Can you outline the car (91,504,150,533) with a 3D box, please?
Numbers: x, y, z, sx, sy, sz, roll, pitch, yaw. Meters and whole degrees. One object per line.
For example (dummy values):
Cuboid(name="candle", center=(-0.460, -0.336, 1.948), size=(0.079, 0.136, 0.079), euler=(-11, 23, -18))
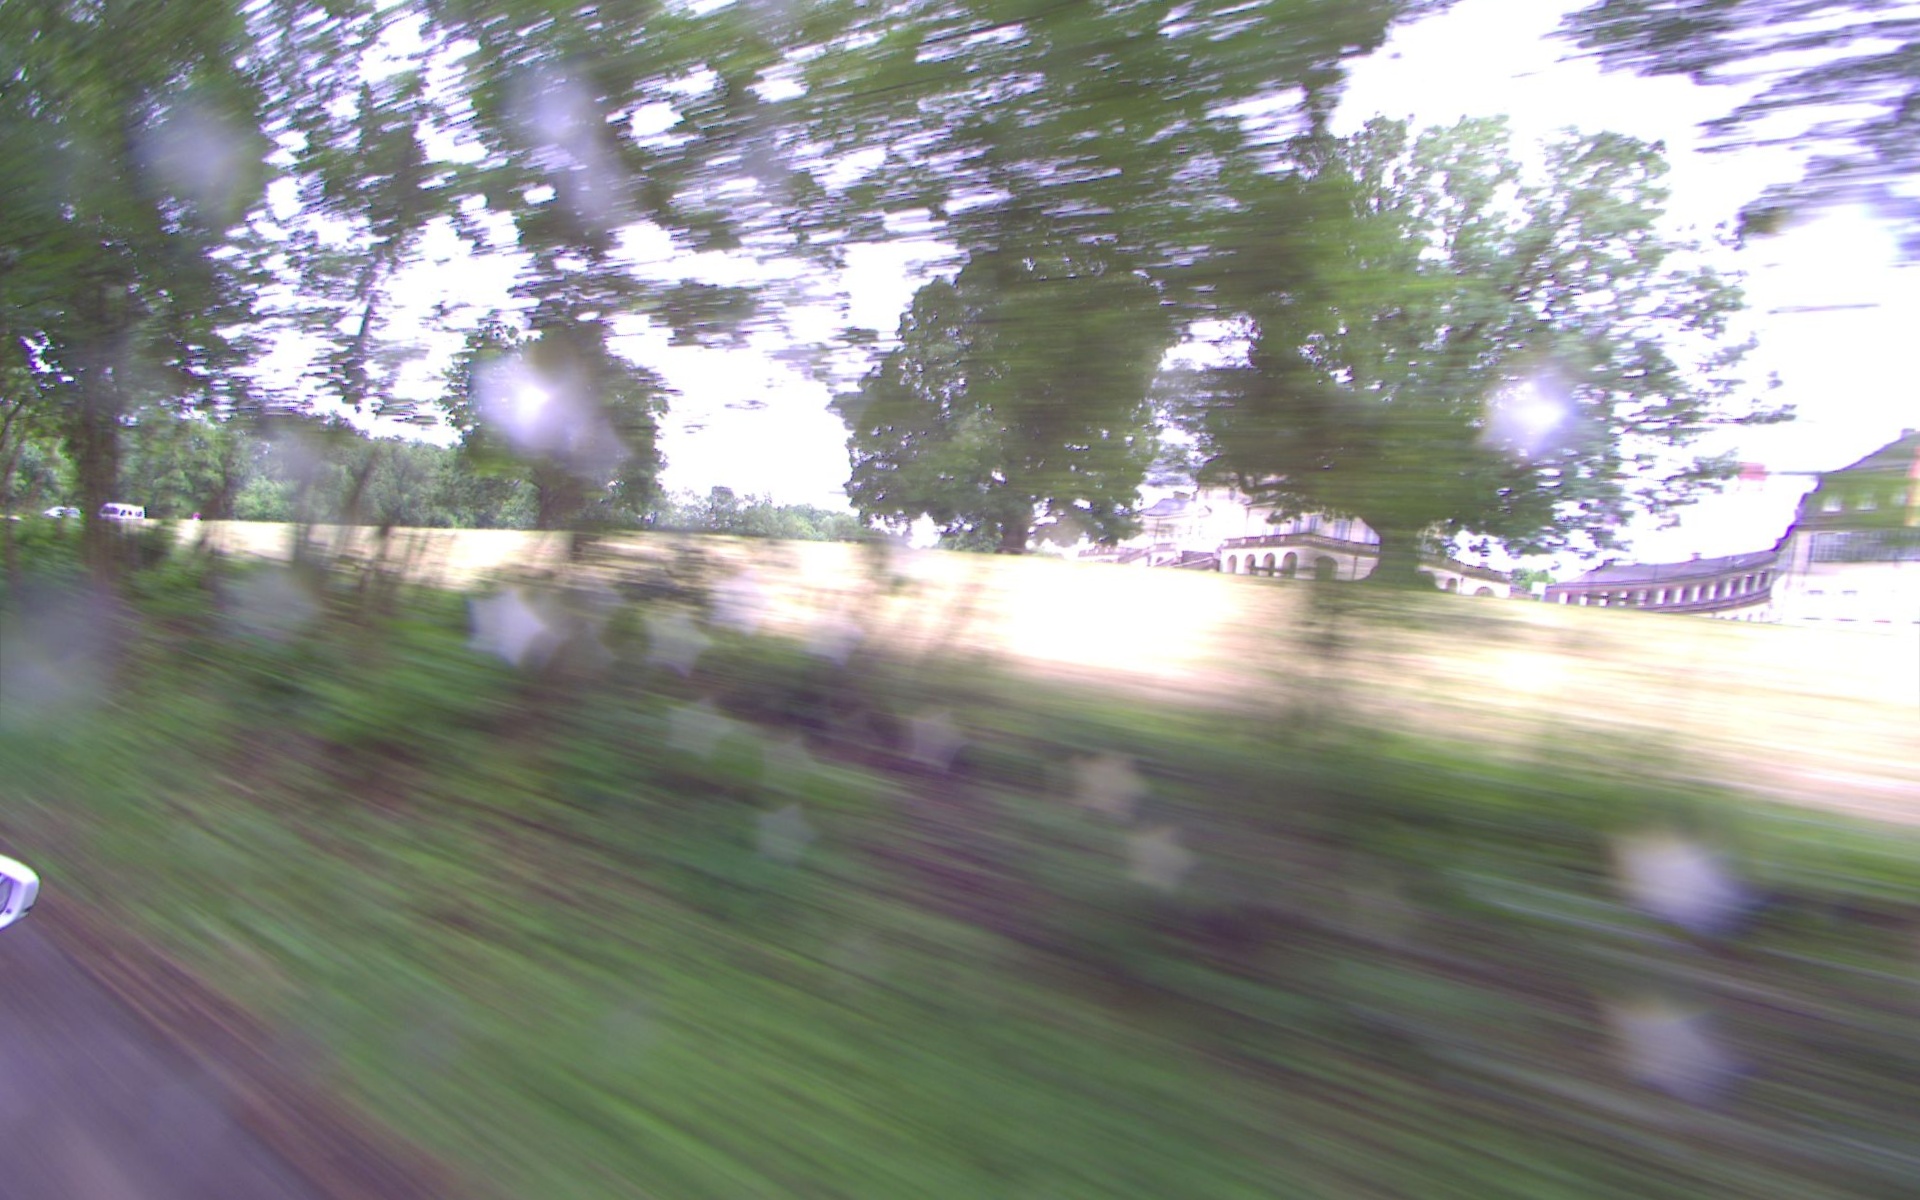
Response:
Cuboid(name="car", center=(-90.312, -8.723, 108.334), size=(2.242, 2.733, 6.030), euler=(5, 1, -13))
